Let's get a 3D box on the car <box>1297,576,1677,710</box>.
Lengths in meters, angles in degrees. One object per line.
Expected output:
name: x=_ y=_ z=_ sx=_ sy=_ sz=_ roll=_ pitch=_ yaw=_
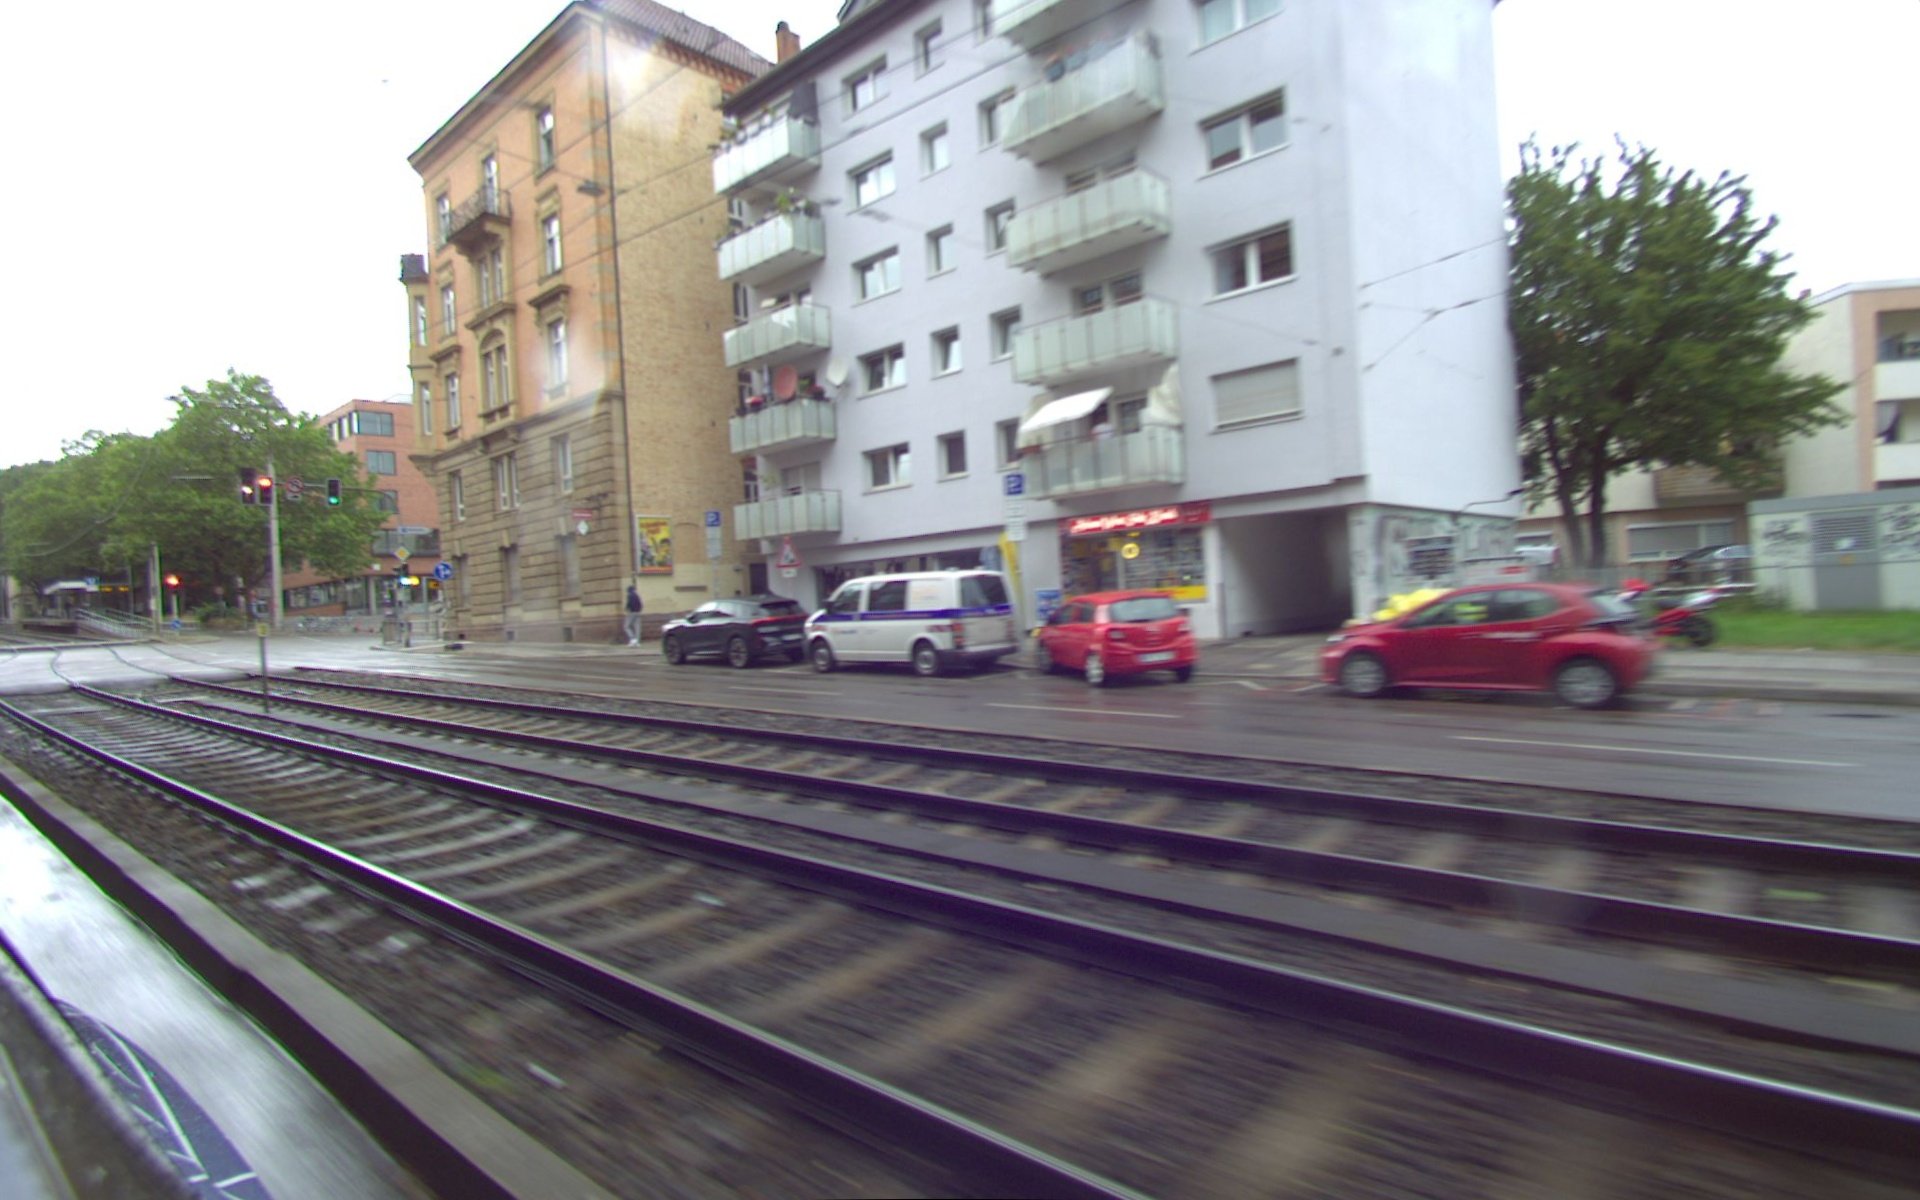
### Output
car: x=6.700 y=0.537 z=13.134 sx=4.071 sy=1.462 sz=1.636 roll=-3 pitch=0 yaw=41

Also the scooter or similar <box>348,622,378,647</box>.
scooter or similar: x=-35.871 y=2.052 z=60.804 sx=0.450 sy=1.381 sz=1.494 roll=-3 pitch=0 yaw=25

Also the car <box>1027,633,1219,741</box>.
car: x=2.641 y=1.380 z=17.440 sx=1.756 sy=1.444 sz=3.993 roll=-3 pitch=0 yaw=-14

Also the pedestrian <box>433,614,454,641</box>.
pedestrian: x=-34.268 y=1.838 z=67.146 sx=1.009 sy=1.743 sz=0.887 roll=-2 pitch=0 yaw=42

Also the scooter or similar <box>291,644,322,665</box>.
scooter or similar: x=-41.424 y=3.432 z=64.160 sx=0.475 sy=1.203 sz=1.706 roll=-3 pitch=0 yaw=21

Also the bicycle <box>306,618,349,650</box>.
bicycle: x=-38.250 y=2.047 z=61.211 sx=0.555 sy=1.710 sz=2.073 roll=-1 pitch=3 yaw=35

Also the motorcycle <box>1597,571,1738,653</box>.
motorcycle: x=11.354 y=0.188 z=16.275 sx=1.783 sy=1.209 sz=0.633 roll=-1 pitch=4 yaw=41

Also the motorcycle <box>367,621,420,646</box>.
motorcycle: x=-33.786 y=2.003 z=60.430 sx=0.864 sy=1.381 sz=2.627 roll=-2 pitch=0 yaw=35

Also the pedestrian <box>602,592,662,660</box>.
pedestrian: x=-9.760 y=0.767 z=30.135 sx=1.175 sy=1.943 sz=1.162 roll=-3 pitch=0 yaw=34

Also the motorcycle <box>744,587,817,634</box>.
motorcycle: x=-5.467 y=0.329 z=30.751 sx=2.308 sy=1.386 sz=0.919 roll=-2 pitch=0 yaw=42

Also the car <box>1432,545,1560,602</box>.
car: x=20.700 y=-1.008 z=39.175 sx=4.044 sy=1.877 sz=1.698 roll=-5 pitch=-1 yaw=39

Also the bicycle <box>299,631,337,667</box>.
bicycle: x=-39.670 y=3.011 z=62.564 sx=0.517 sy=2.028 sz=1.874 roll=-3 pitch=1 yaw=35

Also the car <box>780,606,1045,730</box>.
car: x=-1.090 y=1.339 z=20.402 sx=5.300 sy=2.023 sz=2.049 roll=-4 pitch=2 yaw=42

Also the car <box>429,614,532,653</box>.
car: x=-21.317 y=1.480 z=45.134 sx=1.774 sy=1.550 sz=3.753 roll=-3 pitch=0 yaw=35

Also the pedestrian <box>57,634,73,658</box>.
pedestrian: x=-78.983 y=4.023 z=89.300 sx=0.883 sy=2.078 sz=0.827 roll=-3 pitch=-1 yaw=38

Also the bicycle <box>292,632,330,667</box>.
bicycle: x=-40.487 y=3.051 z=63.134 sx=0.517 sy=2.028 sz=1.874 roll=-3 pitch=1 yaw=35

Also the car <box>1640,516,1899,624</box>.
car: x=16.753 y=-0.552 z=21.091 sx=4.000 sy=1.836 sz=1.668 roll=-5 pitch=-3 yaw=43

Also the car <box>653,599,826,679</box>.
car: x=-5.295 y=0.938 z=23.957 sx=4.362 sy=1.663 sz=1.715 roll=-3 pitch=0 yaw=42
